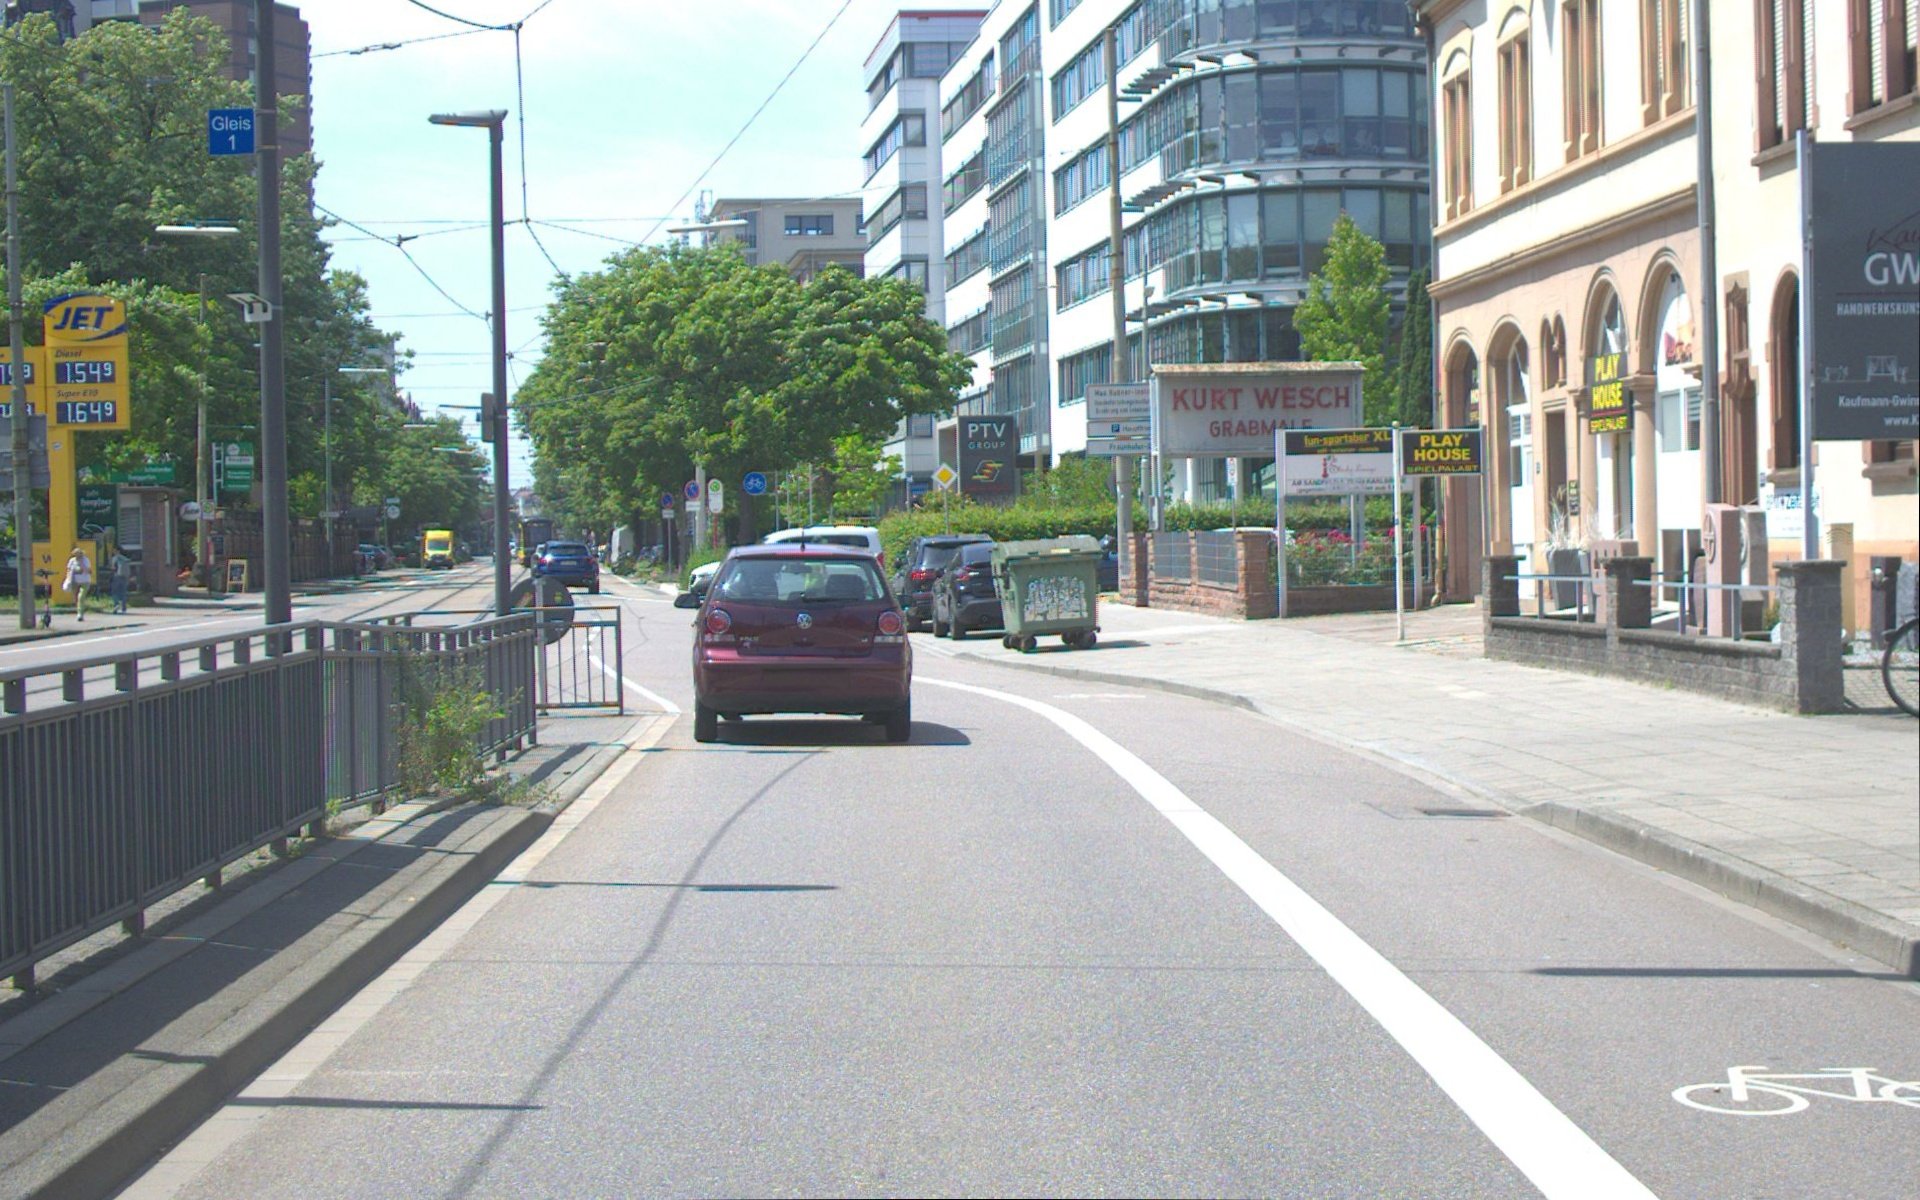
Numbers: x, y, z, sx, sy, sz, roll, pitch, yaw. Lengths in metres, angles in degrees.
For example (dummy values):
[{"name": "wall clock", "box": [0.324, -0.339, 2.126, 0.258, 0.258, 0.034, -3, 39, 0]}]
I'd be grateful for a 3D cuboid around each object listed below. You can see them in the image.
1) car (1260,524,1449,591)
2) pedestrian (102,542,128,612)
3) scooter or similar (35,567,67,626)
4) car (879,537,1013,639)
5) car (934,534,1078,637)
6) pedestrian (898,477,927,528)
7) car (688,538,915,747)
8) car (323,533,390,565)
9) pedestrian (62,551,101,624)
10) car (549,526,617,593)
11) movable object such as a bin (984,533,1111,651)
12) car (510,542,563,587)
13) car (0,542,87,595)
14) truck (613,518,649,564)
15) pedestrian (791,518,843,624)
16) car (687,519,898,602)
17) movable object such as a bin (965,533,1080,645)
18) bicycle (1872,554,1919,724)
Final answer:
[{"name": "car", "box": [9.275, -1.012, 80.975, 4.148, 1.454, 1.818, -1, 1, -3]}, {"name": "pedestrian", "box": [-21.345, -0.580, 86.856, 0.580, 1.769, 0.700, 0, 1, -10]}, {"name": "scooter or similar", "box": [-19.001, -0.076, 71.866, 0.518, 1.196, 1.377, 0, 1, -9]}, {"name": "car", "box": [-0.301, -0.252, 62.647, 1.924, 1.687, 5.083, -3, 1, -5]}, {"name": "car", "box": [0.710, -0.249, 56.413, 1.772, 1.543, 4.468, -3, 1, -6]}, {"name": "pedestrian", "box": [-1.667, -3.399, 119.836, 0.874, 1.709, 1.089, -3, 1, 3]}, {"name": "car", "box": [-1.183, 0.267, 26.677, 1.619, 1.481, 4.000, 0, 1, -1]}, {"name": "car", "box": [-39.166, -3.297, 223.127, 3.986, 2.007, 2.000, -1, 1, -2]}, {"name": "pedestrian", "box": [-20.674, -0.295, 80.919, 0.625, 1.685, 0.722, -1, 1, 8]}, {"name": "car", "box": [-11.597, -1.275, 105.522, 1.993, 2.007, 4.001, 0, 1, -7]}, {"name": "movable object such as a bin", "box": [1.145, -0.111, 45.250, 1.391, 1.450, 1.139, -3, 1, -10]}, {"name": "car", "box": [-16.878, -1.431, 137.040, 1.993, 1.733, 4.001, -2, 1, -6]}, {"name": "car", "box": [-27.194, -0.915, 97.813, 1.933, 1.483, 4.443, 1, 1, 33]}, {"name": "truck", "box": [-19.309, -3.448, 201.539, 1.993, 2.652, 4.876, 0, 1, -7]}, {"name": "pedestrian", "box": [-2.681, -0.547, 64.588, 0.780, 1.953, 0.590, -2, 1, -21]}, {"name": "car", "box": [-3.822, -0.908, 77.988, 4.536, 1.793, 2.001, -1, 1, -10]}, {"name": "movable object such as a bin", "box": [0.856, -0.158, 47.420, 1.323, 1.450, 1.058, -3, 1, -10]}, {"name": "bicycle", "box": [7.082, 0.249, 23.045, 1.802, 1.123, 0.590, -1, 1, 8]}]
